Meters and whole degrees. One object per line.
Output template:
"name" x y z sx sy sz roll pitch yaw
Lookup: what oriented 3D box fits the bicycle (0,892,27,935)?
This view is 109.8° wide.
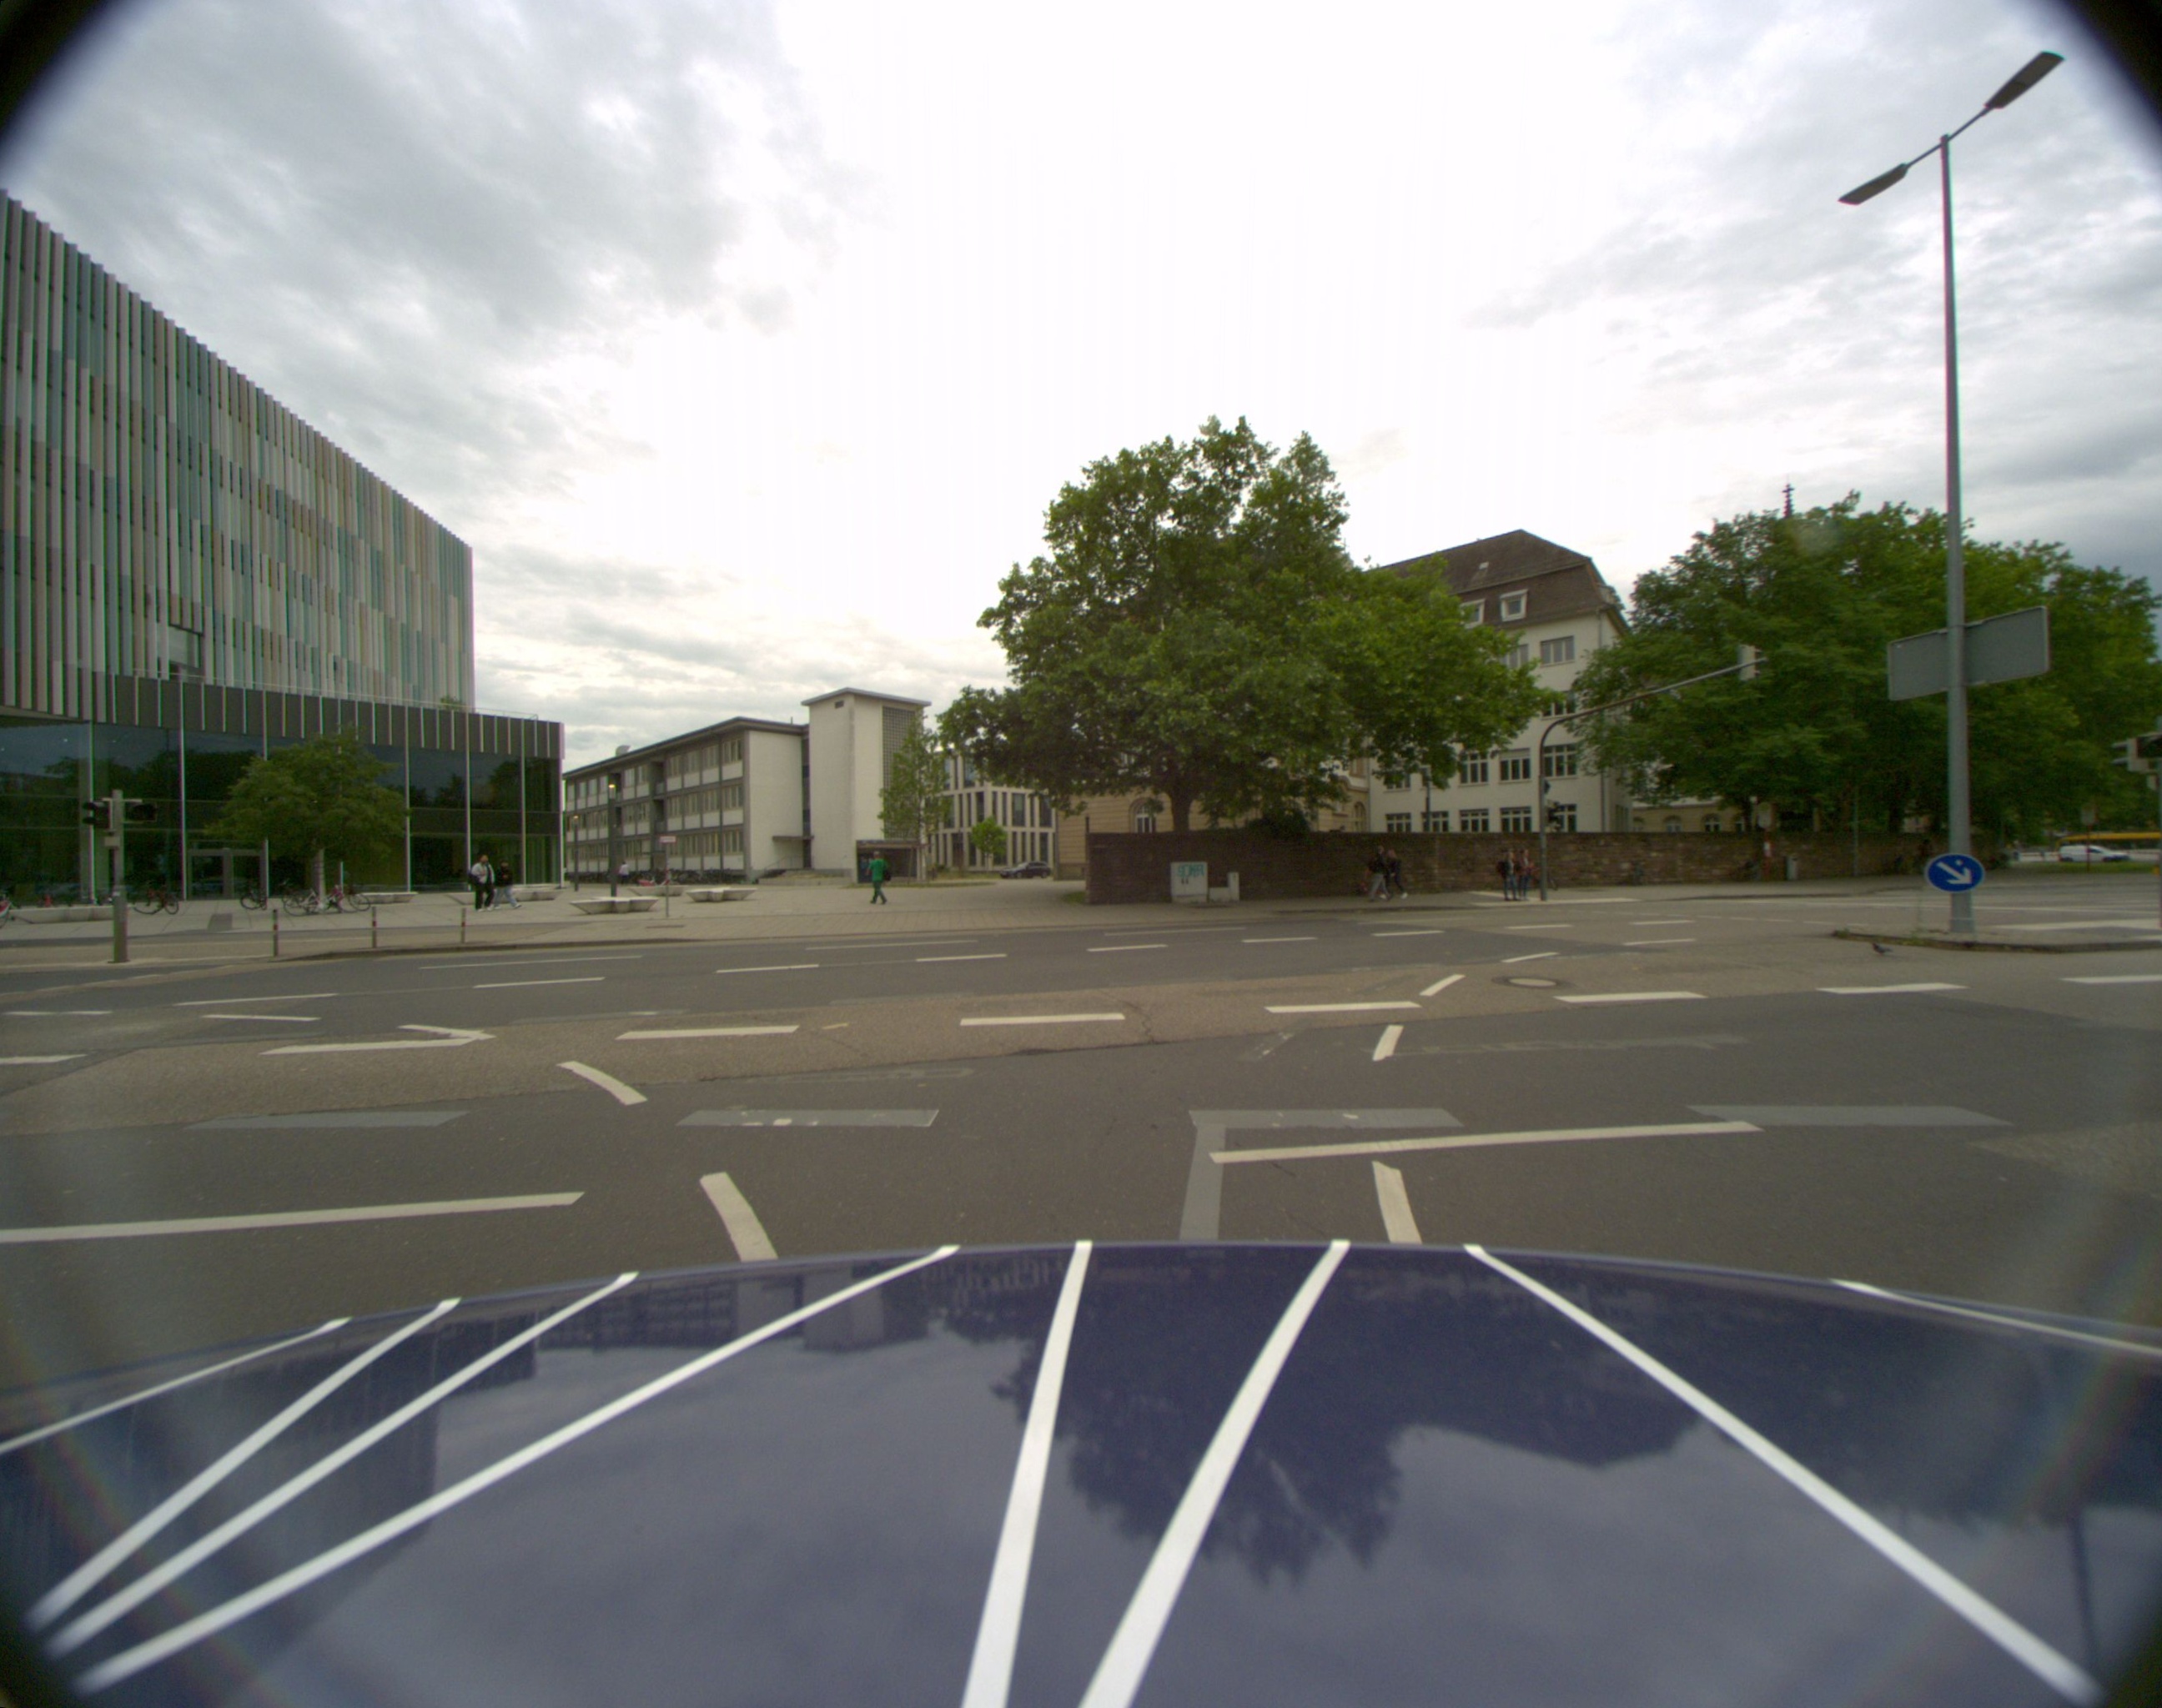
"bicycle" -28.653 1.581 20.131 0.485 1.039 1.779 -2 1 -43

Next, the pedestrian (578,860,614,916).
"pedestrian" -14.495 1.012 22.707 0.623 1.656 0.619 -2 0 26

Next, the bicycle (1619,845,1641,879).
"bicycle" 22.601 0.310 31.306 0.667 1.372 2.590 -1 0 34

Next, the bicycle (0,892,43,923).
"bicycle" -34.502 1.736 24.706 2.005 0.930 0.485 -1 1 26

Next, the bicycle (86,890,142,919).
"bicycle" -33.128 1.715 26.037 2.006 0.930 0.484 -1 1 18

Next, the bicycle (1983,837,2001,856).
"bicycle" 56.381 -0.490 47.004 2.252 1.142 0.506 -2 2 -35

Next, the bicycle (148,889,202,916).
"bicycle" -32.441 1.719 27.200 2.006 0.930 0.484 -1 1 18

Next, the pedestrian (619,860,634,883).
"pedestrian" -35.463 1.333 59.318 0.759 1.778 0.778 -1 1 42

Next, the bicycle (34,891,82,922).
"bicycle" -34.120 1.738 25.343 2.005 0.930 0.549 -1 1 26

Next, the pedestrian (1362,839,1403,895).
"pedestrian" 9.867 0.405 24.872 1.007 1.779 0.756 -2 2 -15

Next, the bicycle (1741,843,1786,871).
"bicycle" 30.138 0.117 33.541 2.158 1.142 0.664 -2 2 -24

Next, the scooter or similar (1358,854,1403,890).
"scooter or similar" 10.557 0.617 26.800 1.412 1.223 0.495 -1 2 5

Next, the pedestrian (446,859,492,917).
"pedestrian" -19.256 1.047 23.904 0.892 1.778 0.848 -1 1 34

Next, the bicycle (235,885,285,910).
"bicycle" -31.582 1.662 29.226 2.006 0.930 0.484 -1 1 18

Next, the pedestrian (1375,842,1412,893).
"pedestrian" 10.768 0.450 26.171 0.809 1.656 0.789 -2 6 -14

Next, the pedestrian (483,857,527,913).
"pedestrian" -18.859 0.988 24.870 0.892 1.778 0.848 -1 0 34

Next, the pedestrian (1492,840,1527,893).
"pedestrian" 14.228 0.412 25.244 0.671 1.729 0.734 -2 2 -17

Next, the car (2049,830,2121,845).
"car" 103.615 -1.653 78.449 2.001 1.368 3.995 -2 0 -14

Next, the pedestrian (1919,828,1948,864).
"pedestrian" 42.129 -0.406 37.544 0.774 1.749 0.789 -1 1 -26

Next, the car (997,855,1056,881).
"car" -4.436 1.109 61.838 1.997 1.570 4.411 -15 -8 42

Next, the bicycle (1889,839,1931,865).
"bicycle" 41.877 -0.133 38.375 2.546 1.258 0.664 -1 2 -24

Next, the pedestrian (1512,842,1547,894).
"pedestrian" 15.000 0.461 25.402 0.643 1.684 0.778 -2 2 -15

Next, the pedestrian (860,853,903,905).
"pedestrian" -6.791 0.835 25.873 0.904 1.704 0.953 -3 -1 31

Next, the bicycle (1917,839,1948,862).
"bicycle" 45.217 -0.189 40.323 2.251 1.142 0.507 -2 2 -27

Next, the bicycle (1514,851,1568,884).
"bicycle" 17.470 0.504 28.843 2.158 1.178 0.582 -1 2 -22
